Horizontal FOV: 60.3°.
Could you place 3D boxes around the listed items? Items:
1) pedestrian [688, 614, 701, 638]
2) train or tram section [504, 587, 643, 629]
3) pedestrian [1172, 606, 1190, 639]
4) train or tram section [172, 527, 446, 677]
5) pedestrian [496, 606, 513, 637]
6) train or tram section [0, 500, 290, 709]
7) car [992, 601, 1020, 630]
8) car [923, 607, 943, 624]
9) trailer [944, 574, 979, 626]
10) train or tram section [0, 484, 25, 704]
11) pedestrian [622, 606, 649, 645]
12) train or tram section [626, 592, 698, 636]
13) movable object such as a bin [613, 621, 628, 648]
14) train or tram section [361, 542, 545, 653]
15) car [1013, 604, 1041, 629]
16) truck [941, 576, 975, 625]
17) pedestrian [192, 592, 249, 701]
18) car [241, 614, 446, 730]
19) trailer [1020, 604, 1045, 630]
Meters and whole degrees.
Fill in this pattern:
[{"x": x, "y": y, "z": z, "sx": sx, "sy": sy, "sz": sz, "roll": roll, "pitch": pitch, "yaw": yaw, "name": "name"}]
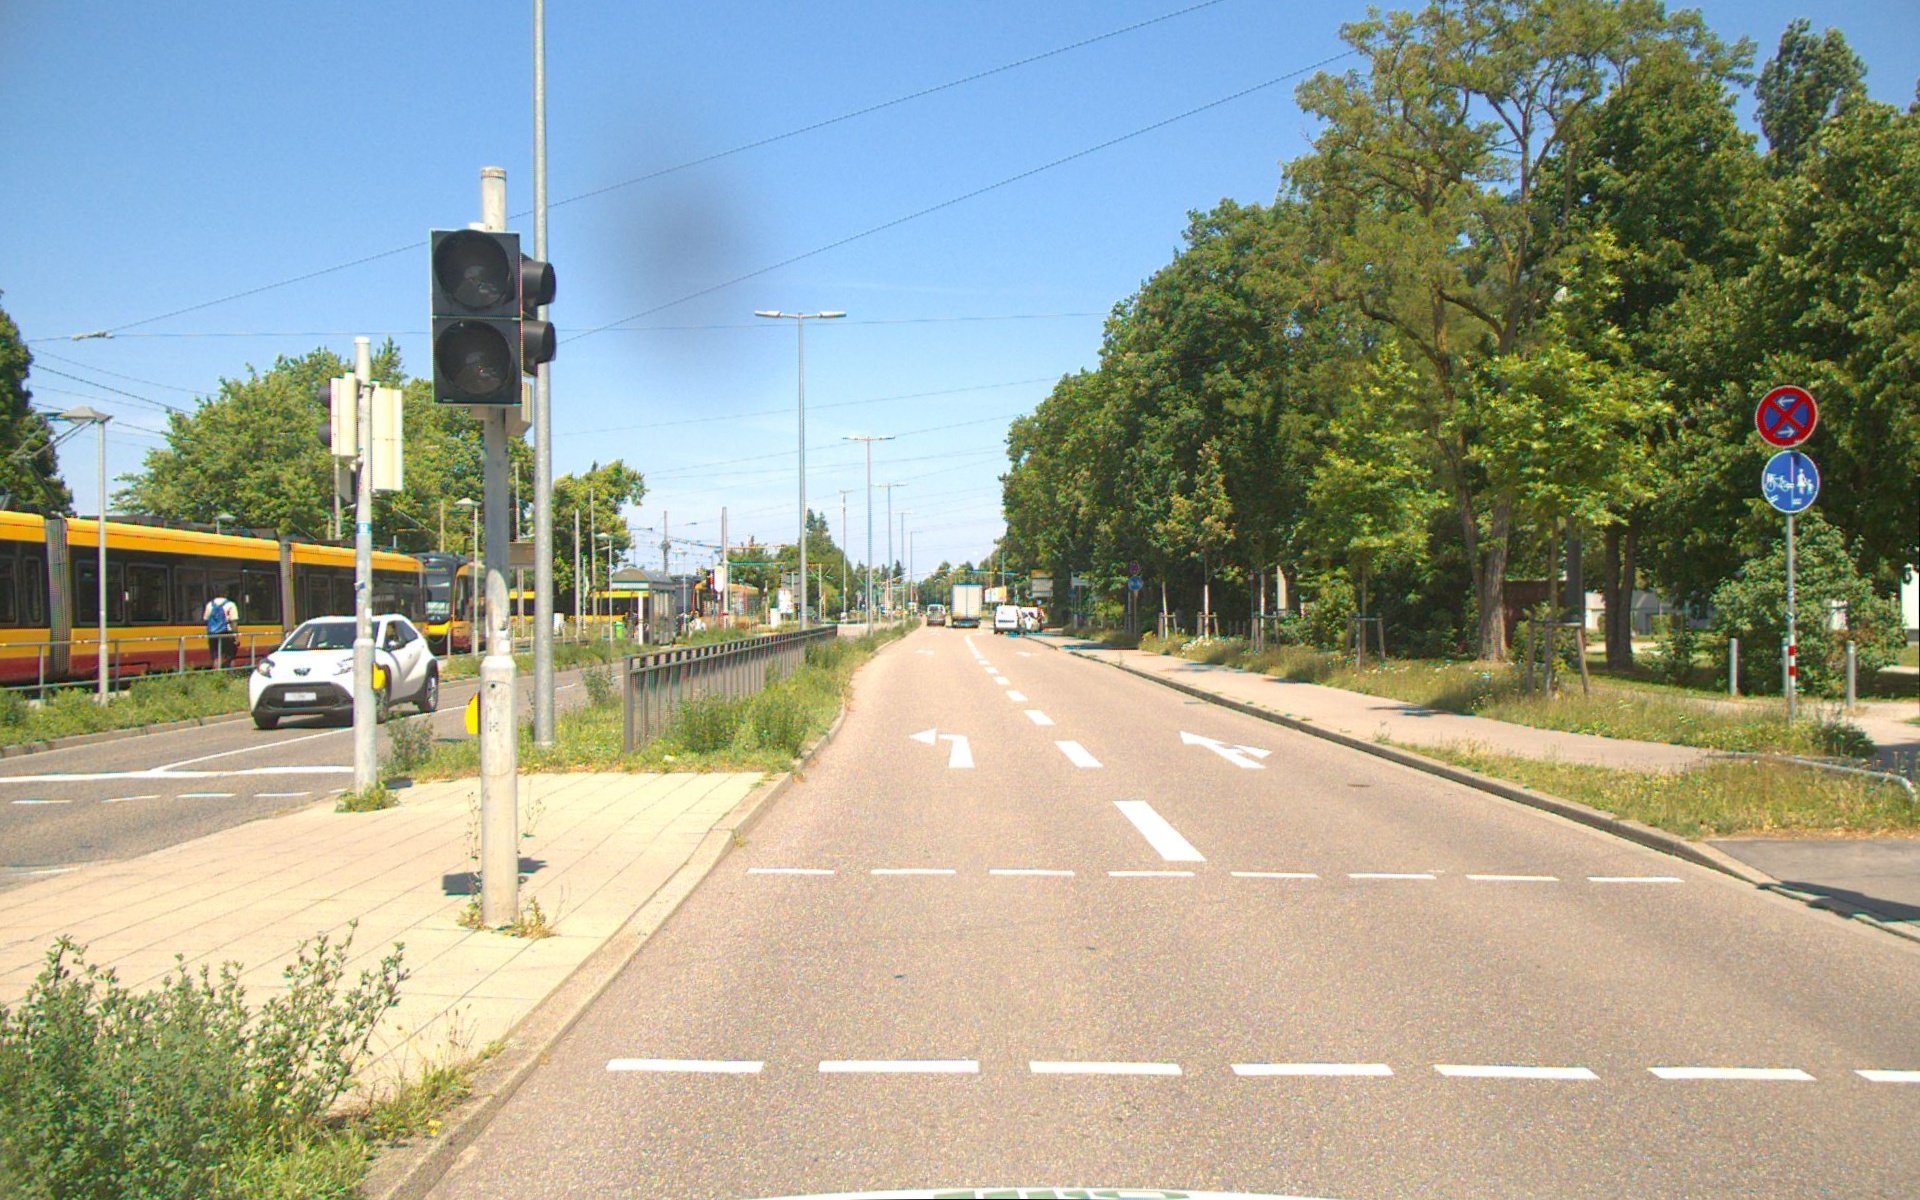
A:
[{"x": -13.346, "y": 1.304, "z": 83.225, "sx": 0.569, "sy": 1.210, "sz": 0.536, "roll": 1, "pitch": -1, "yaw": -2, "name": "pedestrian"}, {"x": -34.981, "y": 0.675, "z": 149.455, "sx": 12.956, "sy": 3.526, "sz": 3.045, "roll": 1, "pitch": 0, "yaw": 23, "name": "train or tram section"}, {"x": 9.766, "y": 0.991, "z": 73.094, "sx": 0.693, "sy": 1.422, "sz": 0.763, "roll": 1, "pitch": -1, "yaw": 0, "name": "pedestrian"}, {"x": -18.861, "y": 0.081, "z": 49.314, "sx": 2.981, "sy": 3.833, "sz": 13.259, "roll": 1, "pitch": 0, "yaw": -1, "name": "train or tram section"}, {"x": -23.445, "y": 1.122, "z": 85.095, "sx": 0.788, "sy": 1.593, "sz": 0.534, "roll": 1, "pitch": -1, "yaw": -16, "name": "pedestrian"}, {"x": -18.757, "y": 0.091, "z": 36.446, "sx": 2.982, "sy": 3.807, "sz": 12.592, "roll": 1, "pitch": 0, "yaw": -1, "name": "train or tram section"}, {"x": 2.960, "y": 0.957, "z": 105.448, "sx": 1.674, "sy": 1.778, "sz": 4.428, "roll": 1, "pitch": 0, "yaw": 2, "name": "car"}, {"x": -2.616, "y": 1.475, "z": 157.809, "sx": 1.854, "sy": 1.396, "sz": 4.428, "roll": 2, "pitch": -2, "yaw": -1, "name": "car"}, {"x": 0.086, "y": 0.010, "z": 146.807, "sx": 2.770, "sy": 4.499, "sz": 8.745, "roll": 1, "pitch": 0, "yaw": -2, "name": "trailer"}, {"x": -18.468, "y": -0.157, "z": 24.436, "sx": 2.890, "sy": 3.923, "sz": 11.537, "roll": 1, "pitch": 0, "yaw": -1, "name": "train or tram section"}, {"x": -13.487, "y": 1.055, "z": 68.745, "sx": 0.912, "sy": 1.573, "sz": 0.985, "roll": 1, "pitch": 0, "yaw": -3, "name": "pedestrian"}, {"x": -25.487, "y": 1.132, "z": 140.951, "sx": 2.997, "sy": 3.526, "sz": 12.651, "roll": 1, "pitch": 0, "yaw": -25, "name": "train or tram section"}, {"x": -12.737, "y": 1.303, "z": 62.020, "sx": 0.472, "sy": 0.995, "sz": 0.644, "roll": 0, "pitch": -1, "yaw": -5, "name": "movable object such as a bin"}, {"x": -18.884, "y": -0.058, "z": 62.889, "sx": 2.982, "sy": 3.688, "sz": 13.893, "roll": 1, "pitch": 0, "yaw": -1, "name": "train or tram section"}, {"x": 4.657, "y": 1.157, "z": 115.460, "sx": 1.665, "sy": 1.683, "sz": 4.396, "roll": 1, "pitch": 0, "yaw": -2, "name": "car"}, {"x": -0.252, "y": 0.013, "z": 155.326, "sx": 2.770, "sy": 4.420, "sz": 8.280, "roll": 2, "pitch": 0, "yaw": -2, "name": "truck"}, {"x": -12.612, "y": 0.779, "z": 28.222, "sx": 0.619, "sy": 1.822, "sz": 0.776, "roll": 1, "pitch": -1, "yaw": -3, "name": "pedestrian"}, {"x": -8.869, "y": 0.981, "z": 24.103, "sx": 1.734, "sy": 1.531, "sz": 3.718, "roll": 0, "pitch": 0, "yaw": -3, "name": "car"}, {"x": 4.862, "y": 1.149, "z": 111.841, "sx": 1.439, "sy": 1.698, "sz": 2.854, "roll": 1, "pitch": 0, "yaw": -2, "name": "trailer"}]
